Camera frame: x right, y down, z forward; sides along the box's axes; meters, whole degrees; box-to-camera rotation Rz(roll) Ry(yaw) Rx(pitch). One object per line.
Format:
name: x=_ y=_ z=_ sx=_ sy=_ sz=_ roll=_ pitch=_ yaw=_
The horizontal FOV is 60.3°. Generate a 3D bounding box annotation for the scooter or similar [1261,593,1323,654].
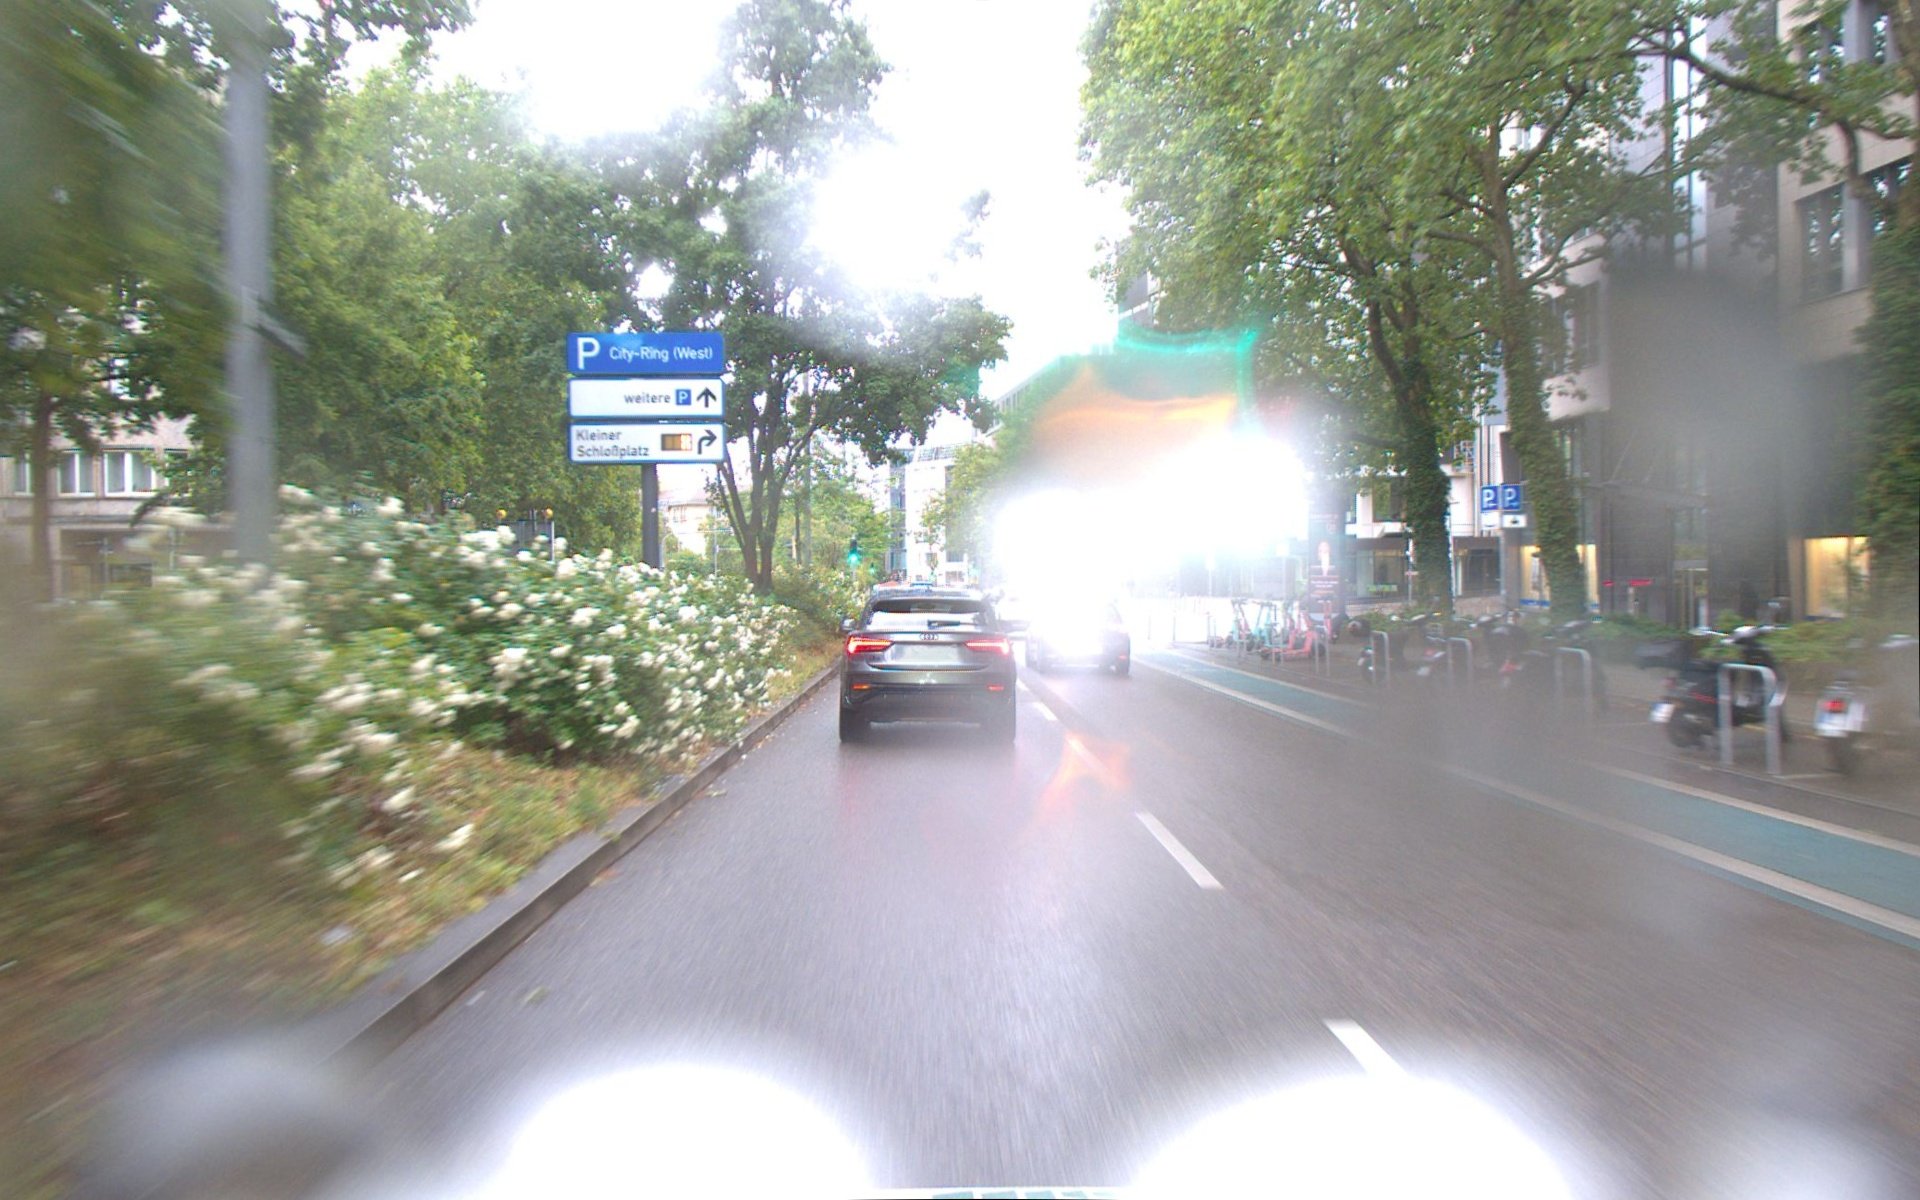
scooter or similar: x=7.375 y=0.524 z=36.719 sx=1.262 sy=1.300 sz=0.537 roll=-2 pitch=2 yaw=3

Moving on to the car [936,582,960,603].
car: x=-0.926 y=-0.569 z=124.923 sx=1.812 sy=1.550 sz=4.038 roll=0 pitch=0 yaw=-1

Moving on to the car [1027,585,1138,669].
car: x=2.339 y=0.478 z=32.480 sx=1.812 sy=1.550 sz=4.038 roll=0 pitch=0 yaw=-1

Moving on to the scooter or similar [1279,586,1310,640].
scooter or similar: x=8.474 y=0.324 z=41.905 sx=0.478 sy=1.281 sz=1.293 roll=-2 pitch=2 yaw=-1

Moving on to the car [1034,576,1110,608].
car: x=5.718 y=-0.420 z=84.600 sx=3.572 sy=1.574 sz=1.716 roll=0 pitch=1 yaw=18

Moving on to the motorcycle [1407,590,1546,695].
motorcycle: x=7.574 y=0.605 z=24.260 sx=1.929 sy=1.397 sz=0.724 roll=-3 pitch=2 yaw=-23

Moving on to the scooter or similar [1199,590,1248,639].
scooter or similar: x=7.136 y=0.392 z=44.789 sx=1.262 sy=1.281 sz=0.490 roll=-1 pitch=2 yaw=10

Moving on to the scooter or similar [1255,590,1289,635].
scooter or similar: x=8.607 y=0.335 z=45.701 sx=0.479 sy=1.218 sz=1.290 roll=0 pitch=0 yaw=-10

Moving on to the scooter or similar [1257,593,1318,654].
scooter or similar: x=7.350 y=0.525 z=37.163 sx=1.262 sy=1.300 sz=0.537 roll=-2 pitch=2 yaw=3

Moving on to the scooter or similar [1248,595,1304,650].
scooter or similar: x=7.637 y=0.535 z=39.992 sx=1.263 sy=1.257 sz=0.489 roll=-2 pitch=2 yaw=1

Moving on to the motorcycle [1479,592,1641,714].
motorcycle: x=7.558 y=0.643 z=20.828 sx=1.929 sy=1.397 sz=0.724 roll=-3 pitch=2 yaw=-23

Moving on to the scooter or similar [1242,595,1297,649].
scooter or similar: x=7.621 y=0.537 z=40.736 sx=1.263 sy=1.257 sz=0.489 roll=-2 pitch=2 yaw=1

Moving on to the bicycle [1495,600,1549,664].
bicycle: x=9.673 y=0.529 z=28.447 sx=0.625 sy=1.046 sz=1.761 roll=0 pitch=0 yaw=27

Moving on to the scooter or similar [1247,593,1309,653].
scooter or similar: x=7.264 y=0.526 z=37.845 sx=1.267 sy=1.300 sz=0.535 roll=-2 pitch=2 yaw=-12

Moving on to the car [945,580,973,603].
car: x=-0.065 y=-0.575 z=110.684 sx=1.812 sy=1.550 sz=4.038 roll=0 pitch=0 yaw=-1

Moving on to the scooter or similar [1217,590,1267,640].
scooter or similar: x=7.451 y=0.391 z=43.652 sx=1.262 sy=1.281 sz=0.490 roll=-1 pitch=2 yaw=10

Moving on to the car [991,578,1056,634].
car: x=1.967 y=0.156 z=52.166 sx=1.812 sy=1.698 sz=4.038 roll=0 pitch=0 yaw=-1

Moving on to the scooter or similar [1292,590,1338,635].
scooter or similar: x=9.759 y=0.343 z=45.503 sx=0.483 sy=1.218 sz=1.279 roll=0 pitch=0 yaw=-32

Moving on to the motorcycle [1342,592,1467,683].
motorcycle: x=7.396 y=0.605 z=27.521 sx=1.925 sy=1.397 sz=0.726 roll=-2 pitch=2 yaw=-18

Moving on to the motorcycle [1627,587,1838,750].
motorcycle: x=7.683 y=0.643 z=16.436 sx=2.025 sy=1.453 sz=0.724 roll=-3 pitch=2 yaw=-23

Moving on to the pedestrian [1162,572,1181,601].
pedestrian: x=12.402 y=-0.793 z=96.996 sx=0.790 sy=1.726 sz=1.186 roll=0 pitch=0 yaw=-6

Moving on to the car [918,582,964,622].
car: x=-0.775 y=0.065 z=66.904 sx=1.812 sy=1.550 sz=4.038 roll=0 pitch=0 yaw=-1

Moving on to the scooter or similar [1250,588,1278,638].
scooter or similar: x=8.228 y=0.330 z=44.836 sx=0.478 sy=1.281 sz=1.293 roll=-2 pitch=2 yaw=-1

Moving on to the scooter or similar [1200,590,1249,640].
scooter or similar: x=7.073 y=0.390 z=44.176 sx=1.262 sy=1.281 sz=0.490 roll=-1 pitch=2 yaw=10

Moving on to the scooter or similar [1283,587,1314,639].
scooter or similar: x=8.822 y=0.330 z=43.145 sx=0.478 sy=1.281 sz=1.293 roll=-2 pitch=2 yaw=-1

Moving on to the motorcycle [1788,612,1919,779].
motorcycle: x=7.913 y=0.773 z=14.075 sx=2.038 sy=1.234 sz=0.676 roll=-3 pitch=0 yaw=-37

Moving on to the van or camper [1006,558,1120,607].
van or camper: x=5.641 y=-0.948 z=90.765 sx=5.946 sy=2.603 sz=2.103 roll=0 pitch=0 yaw=26

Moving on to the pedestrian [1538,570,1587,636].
pedestrian: x=17.404 y=0.079 z=47.787 sx=0.899 sy=1.882 sz=1.276 roll=0 pitch=0 yaw=-2

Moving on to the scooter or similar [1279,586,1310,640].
scooter or similar: x=8.474 y=0.324 z=41.905 sx=0.478 sy=1.281 sz=1.293 roll=-2 pitch=2 yaw=-1

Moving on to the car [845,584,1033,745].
car: x=-0.268 y=0.607 z=17.984 sx=1.812 sy=1.550 sz=4.037 roll=0 pitch=0 yaw=-2
